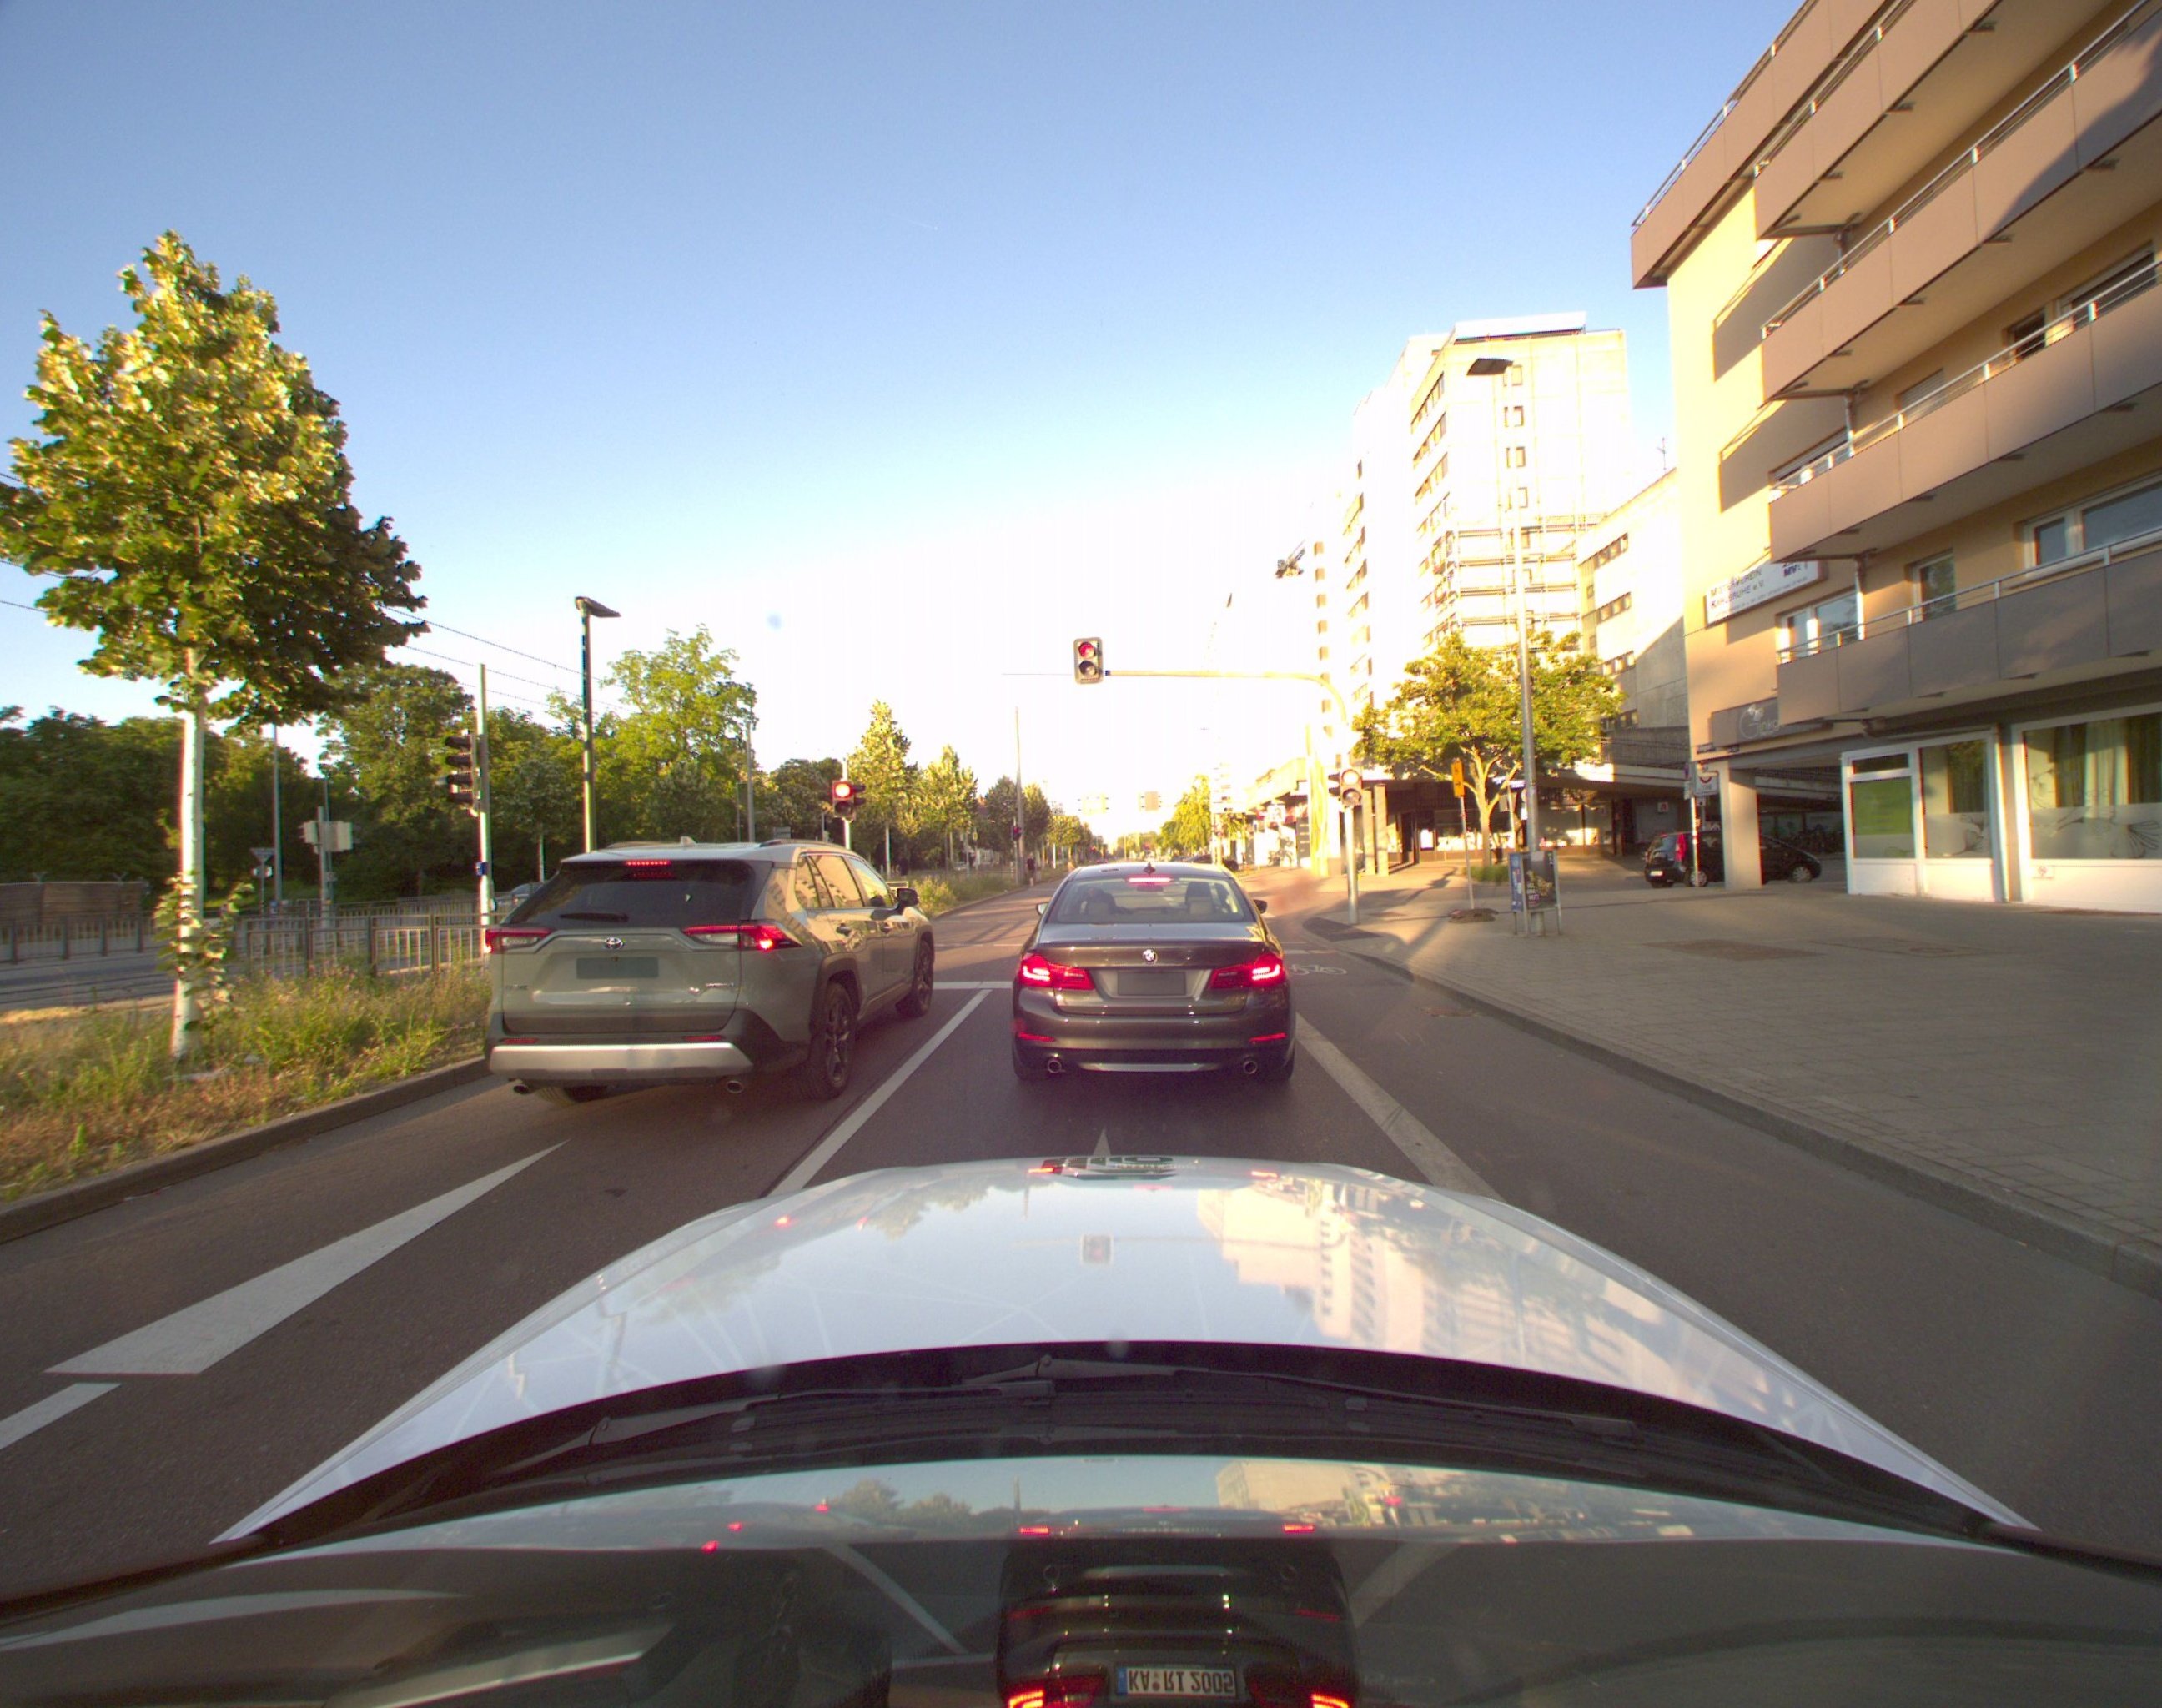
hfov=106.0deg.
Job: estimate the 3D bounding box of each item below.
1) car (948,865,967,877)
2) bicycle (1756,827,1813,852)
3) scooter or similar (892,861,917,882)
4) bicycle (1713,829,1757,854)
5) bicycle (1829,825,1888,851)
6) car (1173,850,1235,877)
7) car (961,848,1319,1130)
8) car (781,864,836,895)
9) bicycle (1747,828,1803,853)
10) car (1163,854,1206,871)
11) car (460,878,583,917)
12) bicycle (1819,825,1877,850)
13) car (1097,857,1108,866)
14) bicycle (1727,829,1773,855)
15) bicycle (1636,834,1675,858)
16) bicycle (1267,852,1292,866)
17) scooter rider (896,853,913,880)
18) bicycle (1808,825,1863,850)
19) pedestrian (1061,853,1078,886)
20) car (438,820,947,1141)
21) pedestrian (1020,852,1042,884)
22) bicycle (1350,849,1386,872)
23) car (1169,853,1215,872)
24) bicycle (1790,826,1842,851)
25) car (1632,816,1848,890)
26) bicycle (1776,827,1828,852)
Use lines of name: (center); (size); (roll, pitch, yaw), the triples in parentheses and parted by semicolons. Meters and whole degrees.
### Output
car: (-16.303, 2.204, 107.678); (1.792, 1.481, 3.786); (-2, 0, 3)
bicycle: (32.284, -0.632, 37.399); (0.583, 1.075, 1.963); (1, -1, -21)
scooter or similar: (-10.293, 0.996, 47.476); (1.334, 1.153, 0.510); (-2, -1, -22)
bicycle: (29.733, -0.549, 37.052); (0.578, 1.075, 1.980); (1, -1, 5)
bicycle: (35.272, -0.710, 36.984); (0.580, 1.075, 1.971); (1, -1, -9)
car: (8.581, 0.630, 56.619); (4.291, 1.658, 1.839); (-2, 1, -40)
car: (0.511, 0.728, 6.713); (1.923, 1.481, 4.529); (-1, 1, 5)
car: (-21.133, 1.921, 63.324); (1.981, 2.168, 4.764); (-1, 1, 10)
bicycle: (31.806, -0.615, 37.341); (0.582, 1.075, 1.966); (1, -1, -17)
car: (10.790, 0.855, 85.073); (4.284, 1.658, 1.841); (-2, 1, -33)
car: (-26.533, 2.024, 38.816); (1.978, 1.481, 4.542); (-1, 1, 17)
bicycle: (34.644, -0.733, 36.828); (0.580, 1.075, 1.971); (1, -1, -9)
car: (3.896, 1.277, 147.074); (1.971, 1.433, 4.846); (-1, 1, 2)
bicycle: (30.278, -0.533, 36.879); (0.578, 1.075, 1.980); (1, -1, 5)
bicycle: (26.966, -0.370, 38.227); (0.578, 1.075, 1.980); (1, -1, 5)
bicycle: (16.747, 0.407, 68.738); (2.005, 1.149, 0.692); (0, -1, 8)
scooter rider: (-10.308, 0.719, 47.510); (0.824, 1.514, 0.648); (-2, -1, -22)
bicycle: (34.030, -0.733, 36.759); (0.579, 1.075, 1.974); (1, -1, -4)
pedestrian: (-0.599, 0.824, 43.587); (0.832, 1.712, 0.648); (-2, -1, 1)
car: (-2.399, 0.634, 6.423); (1.848, 1.658, 4.270); (-1, 1, 1)
pedestrian: (-2.543, 0.737, 41.714); (0.813, 1.586, 0.830); (-2, -1, -26)
bicycle: (14.467, 0.333, 41.146); (0.690, 1.149, 2.012); (1, -1, -16)
car: (10.798, 0.794, 79.100); (4.285, 1.658, 1.841); (-2, 1, -34)
bicycle: (33.441, -0.682, 37.084); (0.579, 1.075, 1.976); (1, -1, -1)
car: (17.162, 0.018, 21.386); (4.020, 1.585, 1.708); (-4, -4, 6)
bicycle: (32.881, -0.647, 37.181); (0.579, 1.075, 1.976); (1, -1, -1)
